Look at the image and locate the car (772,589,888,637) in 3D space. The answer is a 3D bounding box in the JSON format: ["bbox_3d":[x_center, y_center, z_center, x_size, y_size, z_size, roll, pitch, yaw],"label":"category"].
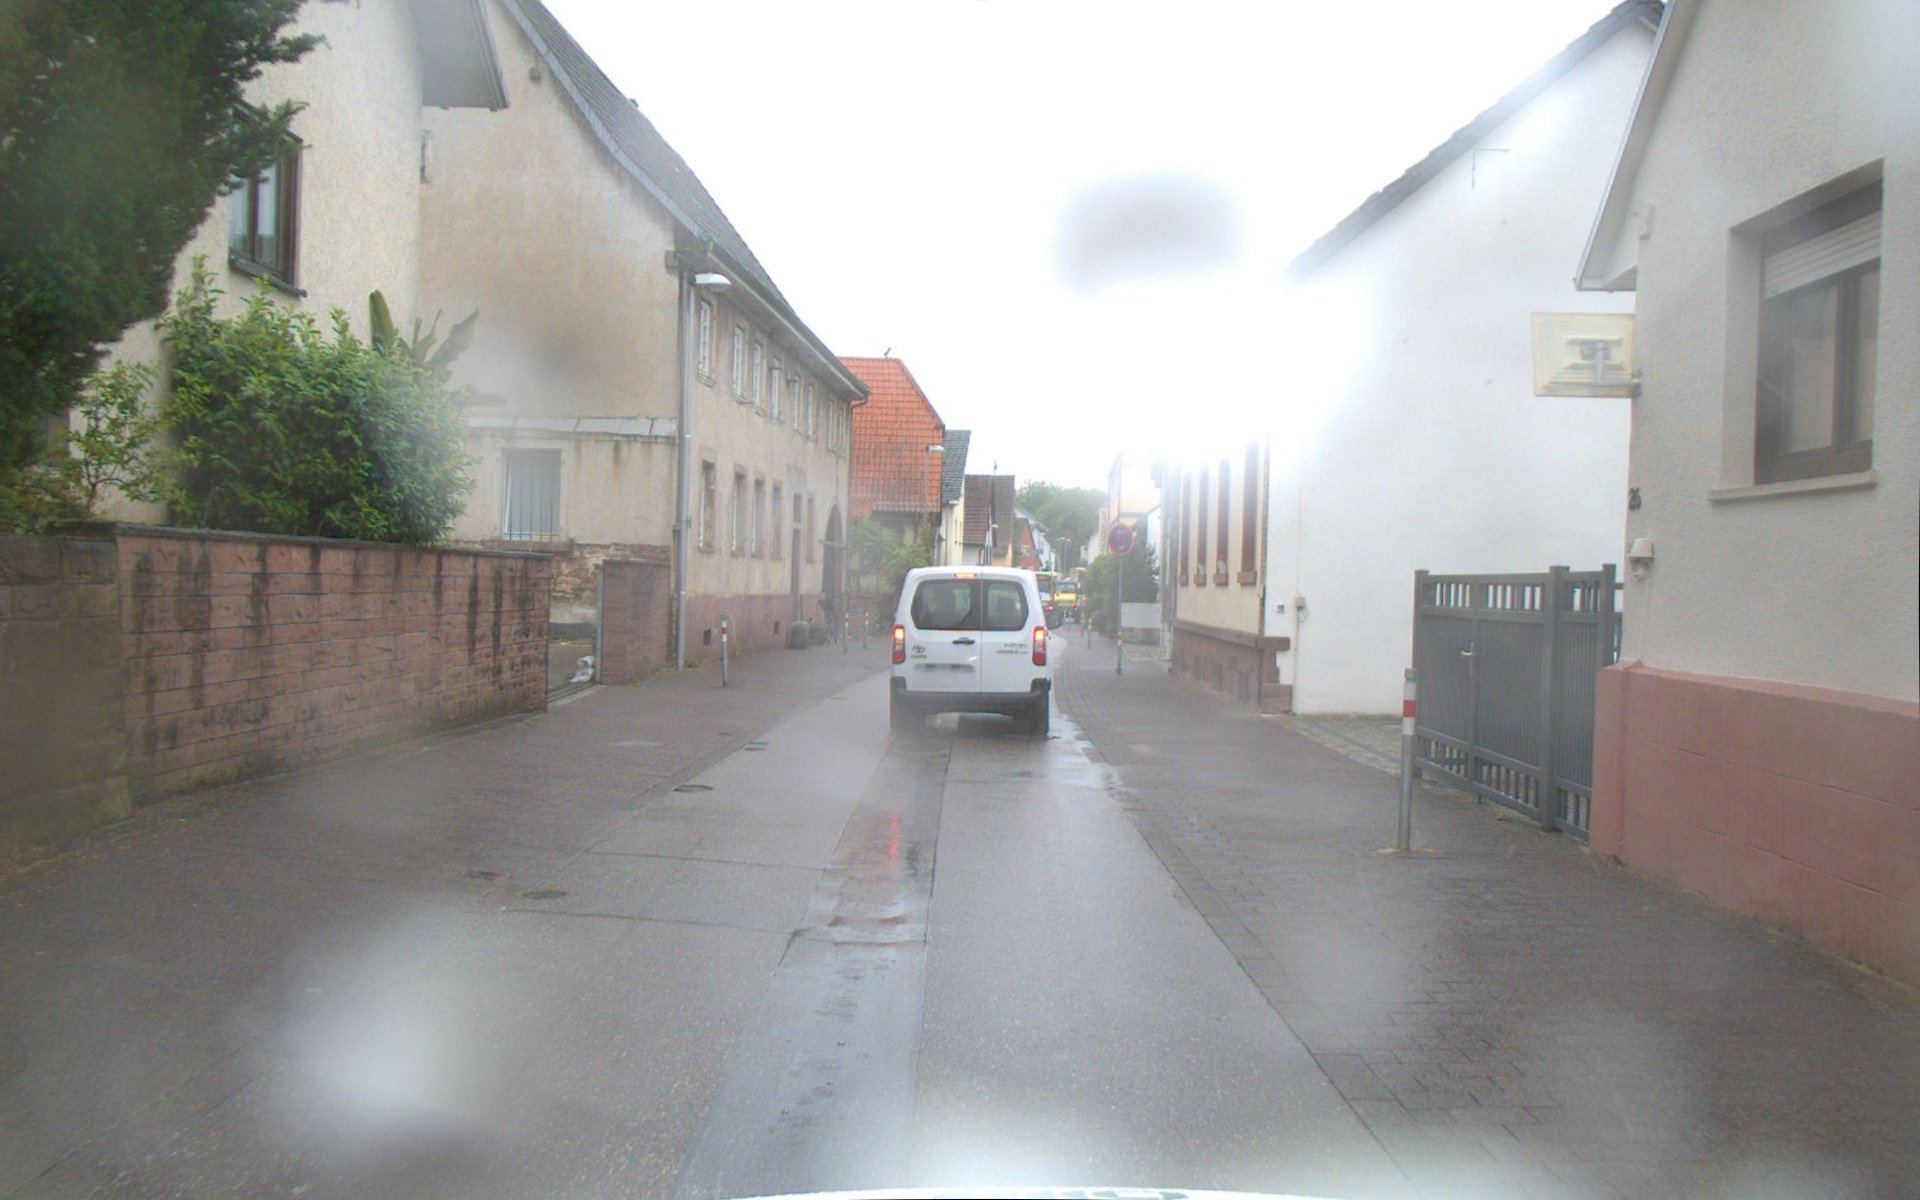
[{"bbox_3d":[-4.184,0.416,53.346,3.453,1.400,1.596,2,0,6],"label":"car"}]

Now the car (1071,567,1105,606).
[{"bbox_3d":[7.159,-0.717,93.008,1.789,2.049,3.695,3,-1,4],"label":"car"}]

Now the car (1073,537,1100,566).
[{"bbox_3d":[10.116,-3.834,132.053,1.952,2.049,4.002,3,-1,5],"label":"car"}]

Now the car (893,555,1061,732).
[{"bbox_3d":[0.301,0.473,19.382,1.757,1.850,4.103,0,-1,4],"label":"car"}]

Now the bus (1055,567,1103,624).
[{"bbox_3d":[7.442,-0.235,103.754,2.735,3.235,8.181,3,0,4],"label":"bus"}]

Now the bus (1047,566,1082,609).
[{"bbox_3d":[9.098,-1.011,143.829,2.735,3.387,8.181,3,0,4],"label":"bus"}]

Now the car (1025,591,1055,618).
[{"bbox_3d":[4.473,0.268,92.421,1.529,1.395,3.586,3,0,5],"label":"car"}]

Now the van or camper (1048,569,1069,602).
[{"bbox_3d":[9.705,-1.413,163.009,1.796,2.976,5.366,3,-1,5],"label":"van or camper"}]

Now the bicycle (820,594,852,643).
[{"bbox_3d":[-3.209,0.479,42.878,0.473,1.200,1.836,3,-1,6],"label":"bicycle"}]
